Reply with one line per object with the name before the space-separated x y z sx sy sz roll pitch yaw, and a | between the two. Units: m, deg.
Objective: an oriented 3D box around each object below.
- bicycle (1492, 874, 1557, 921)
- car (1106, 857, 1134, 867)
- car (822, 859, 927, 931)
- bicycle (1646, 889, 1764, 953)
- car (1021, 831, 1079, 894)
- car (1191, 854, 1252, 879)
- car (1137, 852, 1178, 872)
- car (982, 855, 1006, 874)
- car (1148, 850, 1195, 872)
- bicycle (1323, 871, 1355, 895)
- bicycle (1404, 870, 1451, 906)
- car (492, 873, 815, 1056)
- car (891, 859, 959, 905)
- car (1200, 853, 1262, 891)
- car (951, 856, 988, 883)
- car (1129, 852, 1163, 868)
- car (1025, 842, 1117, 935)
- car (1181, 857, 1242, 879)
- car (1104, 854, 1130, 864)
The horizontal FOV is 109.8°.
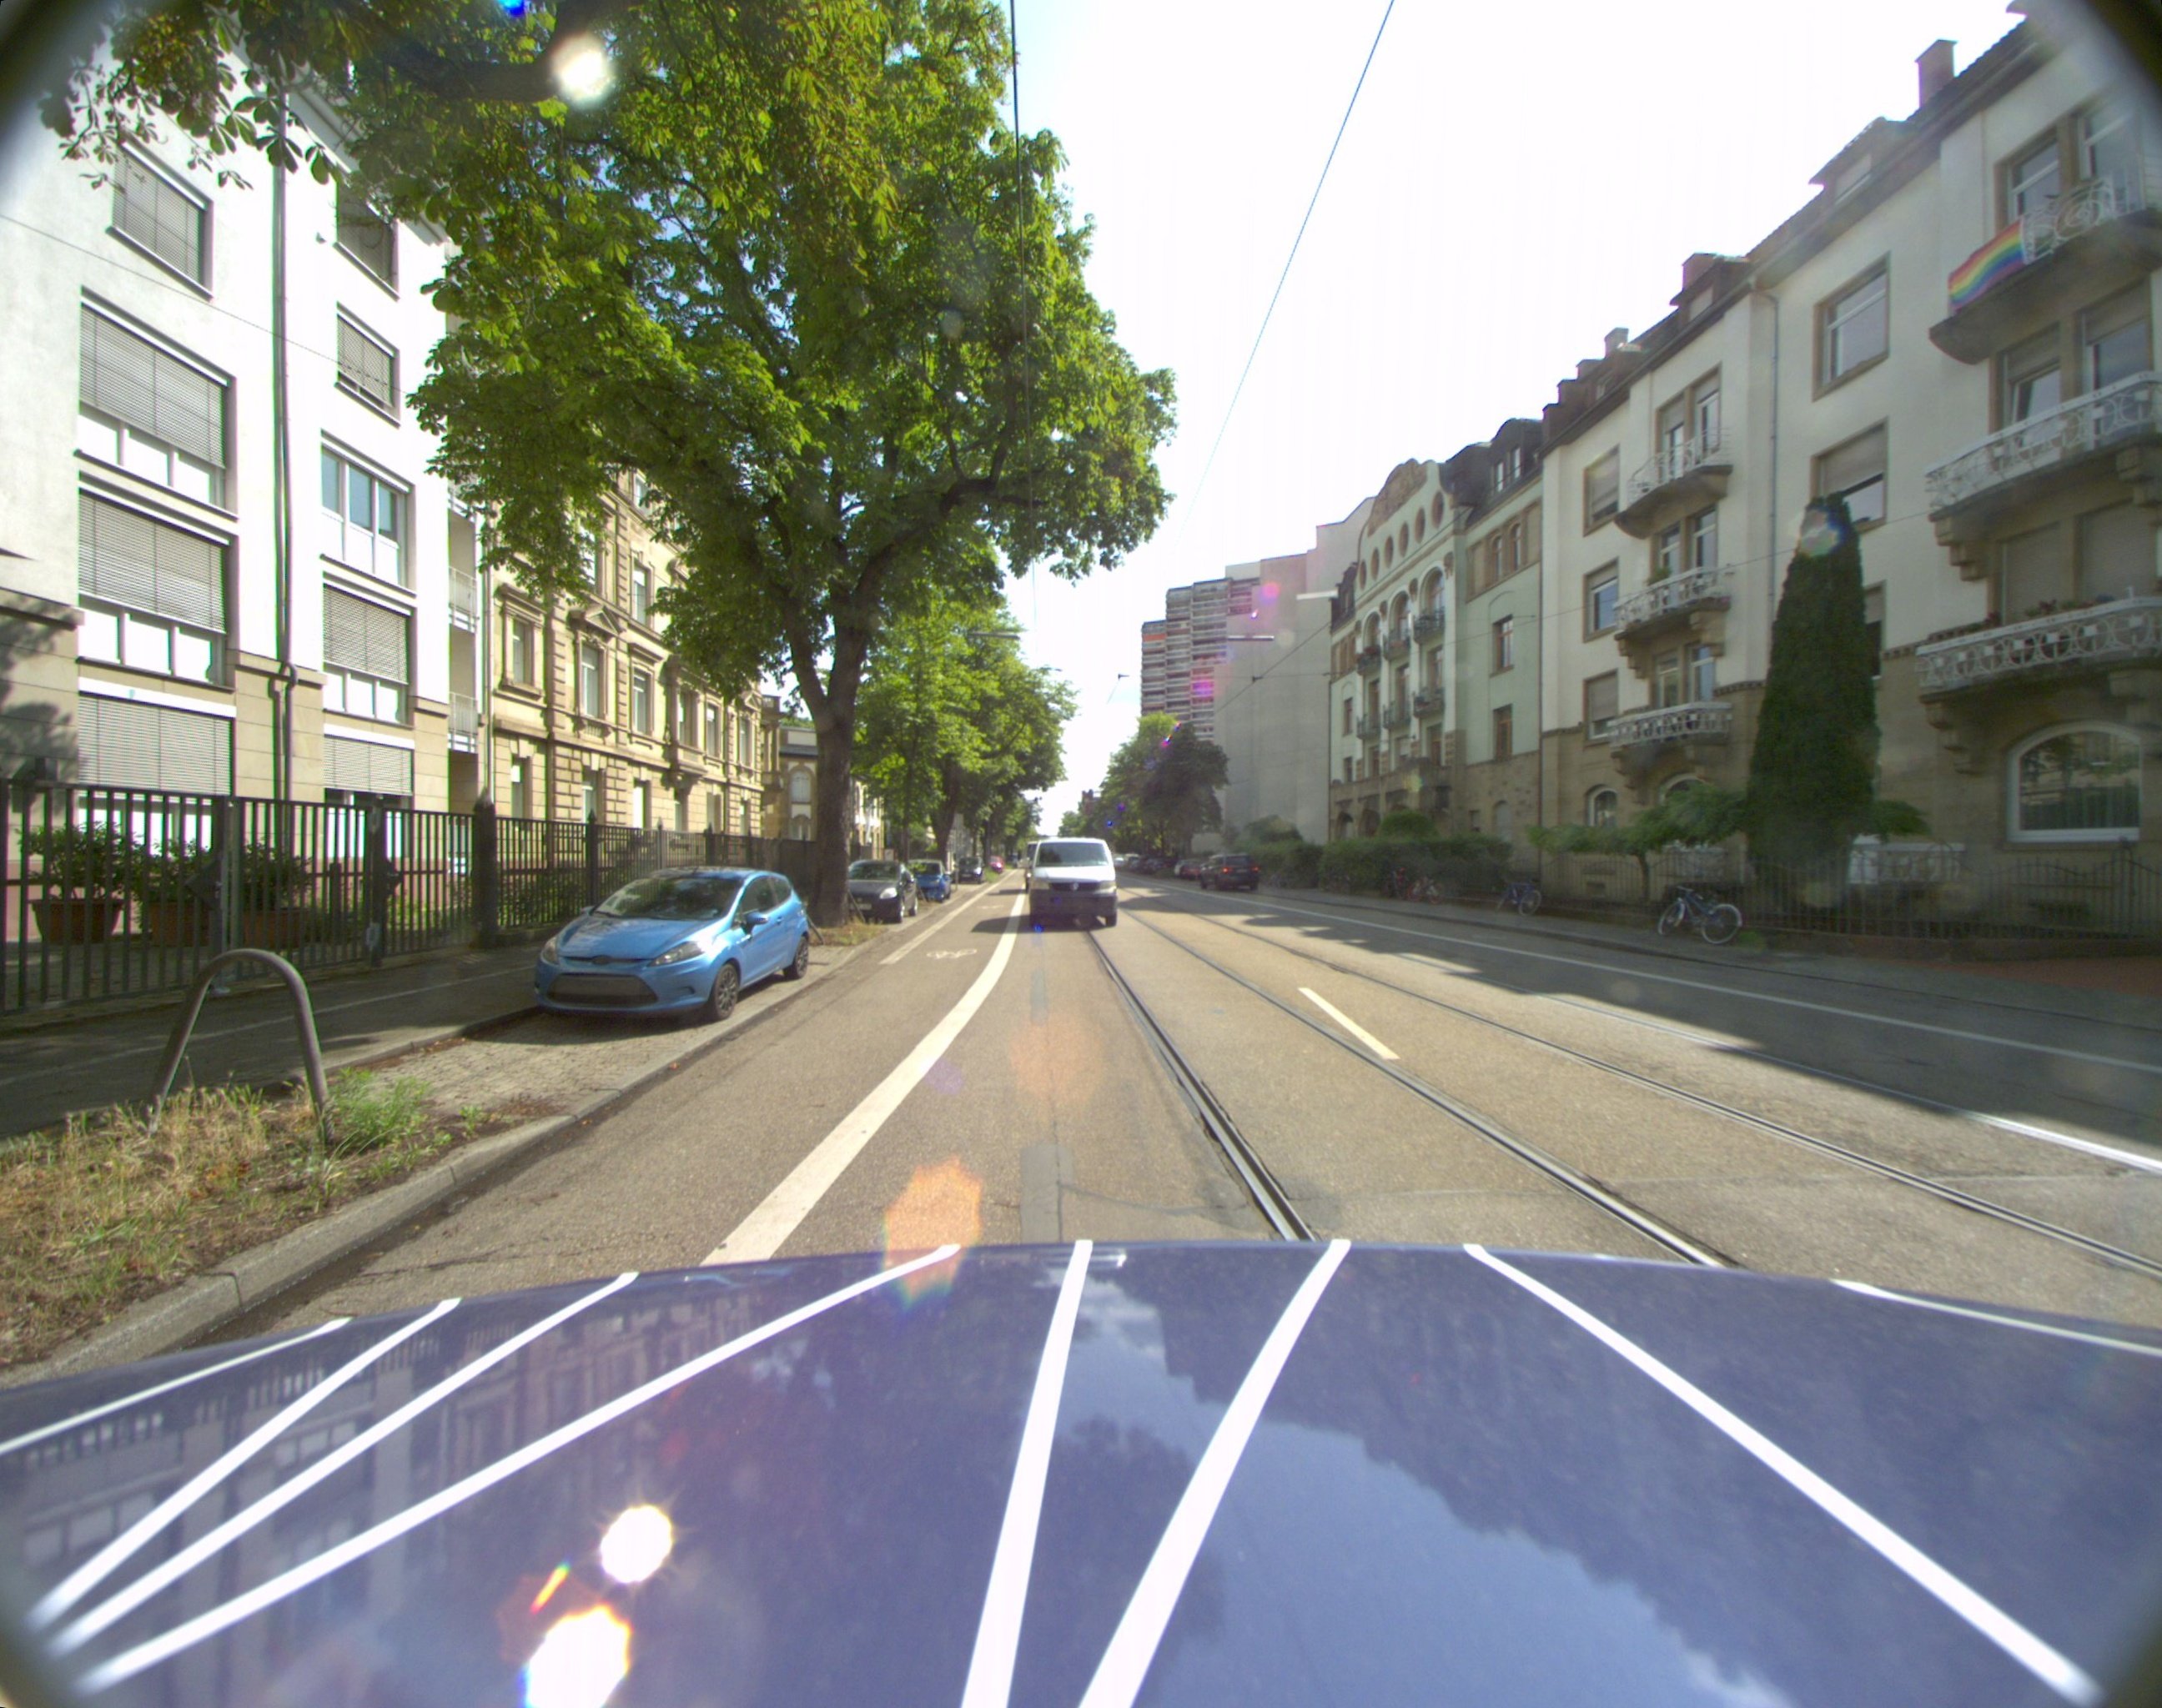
bicycle | 10.898 1.041 18.740 0.539 1.024 1.873 0 1 1
car | 5.119 1.005 99.015 3.527 1.264 1.488 0 0 -1
car | -4.962 0.927 18.733 1.644 1.499 3.622 2 0 -2
bicycle | 11.054 1.154 13.560 0.524 0.901 2.067 0 2 4
car | -1.500 0.344 34.329 2.169 2.572 5.660 0 0 -7
car | 9.034 0.793 49.100 3.631 1.630 1.610 0 1 -3
car | 7.154 0.725 71.506 3.663 1.832 1.735 0 0 -3
car | -7.789 0.894 68.556 1.774 1.563 4.198 2 0 -3
car | 8.066 0.640 68.255 3.997 1.914 1.831 0 0 -1
bicycle | 9.952 1.108 29.355 0.587 0.792 1.873 -2 1 1
bicycle | 10.564 1.026 23.227 0.587 0.980 1.873 0 1 1
car | -4.327 1.006 8.408 1.642 1.447 3.697 2 0 -4
car | -5.422 0.929 26.847 1.724 1.443 3.925 2 0 -3
car | 7.015 0.801 36.003 1.796 1.701 4.330 0 0 -4
car | -6.649 0.896 45.718 1.774 1.522 4.198 2 0 -3
car | 6.934 0.629 81.240 3.542 1.733 1.635 0 0 -1
car | -0.178 0.692 17.847 1.831 1.856 4.845 -1 0 1
car | 8.919 0.952 52.028 3.890 1.527 1.634 0 0 -1
car | 5.318 0.713 113.401 3.815 1.455 1.725 0 0 -1
